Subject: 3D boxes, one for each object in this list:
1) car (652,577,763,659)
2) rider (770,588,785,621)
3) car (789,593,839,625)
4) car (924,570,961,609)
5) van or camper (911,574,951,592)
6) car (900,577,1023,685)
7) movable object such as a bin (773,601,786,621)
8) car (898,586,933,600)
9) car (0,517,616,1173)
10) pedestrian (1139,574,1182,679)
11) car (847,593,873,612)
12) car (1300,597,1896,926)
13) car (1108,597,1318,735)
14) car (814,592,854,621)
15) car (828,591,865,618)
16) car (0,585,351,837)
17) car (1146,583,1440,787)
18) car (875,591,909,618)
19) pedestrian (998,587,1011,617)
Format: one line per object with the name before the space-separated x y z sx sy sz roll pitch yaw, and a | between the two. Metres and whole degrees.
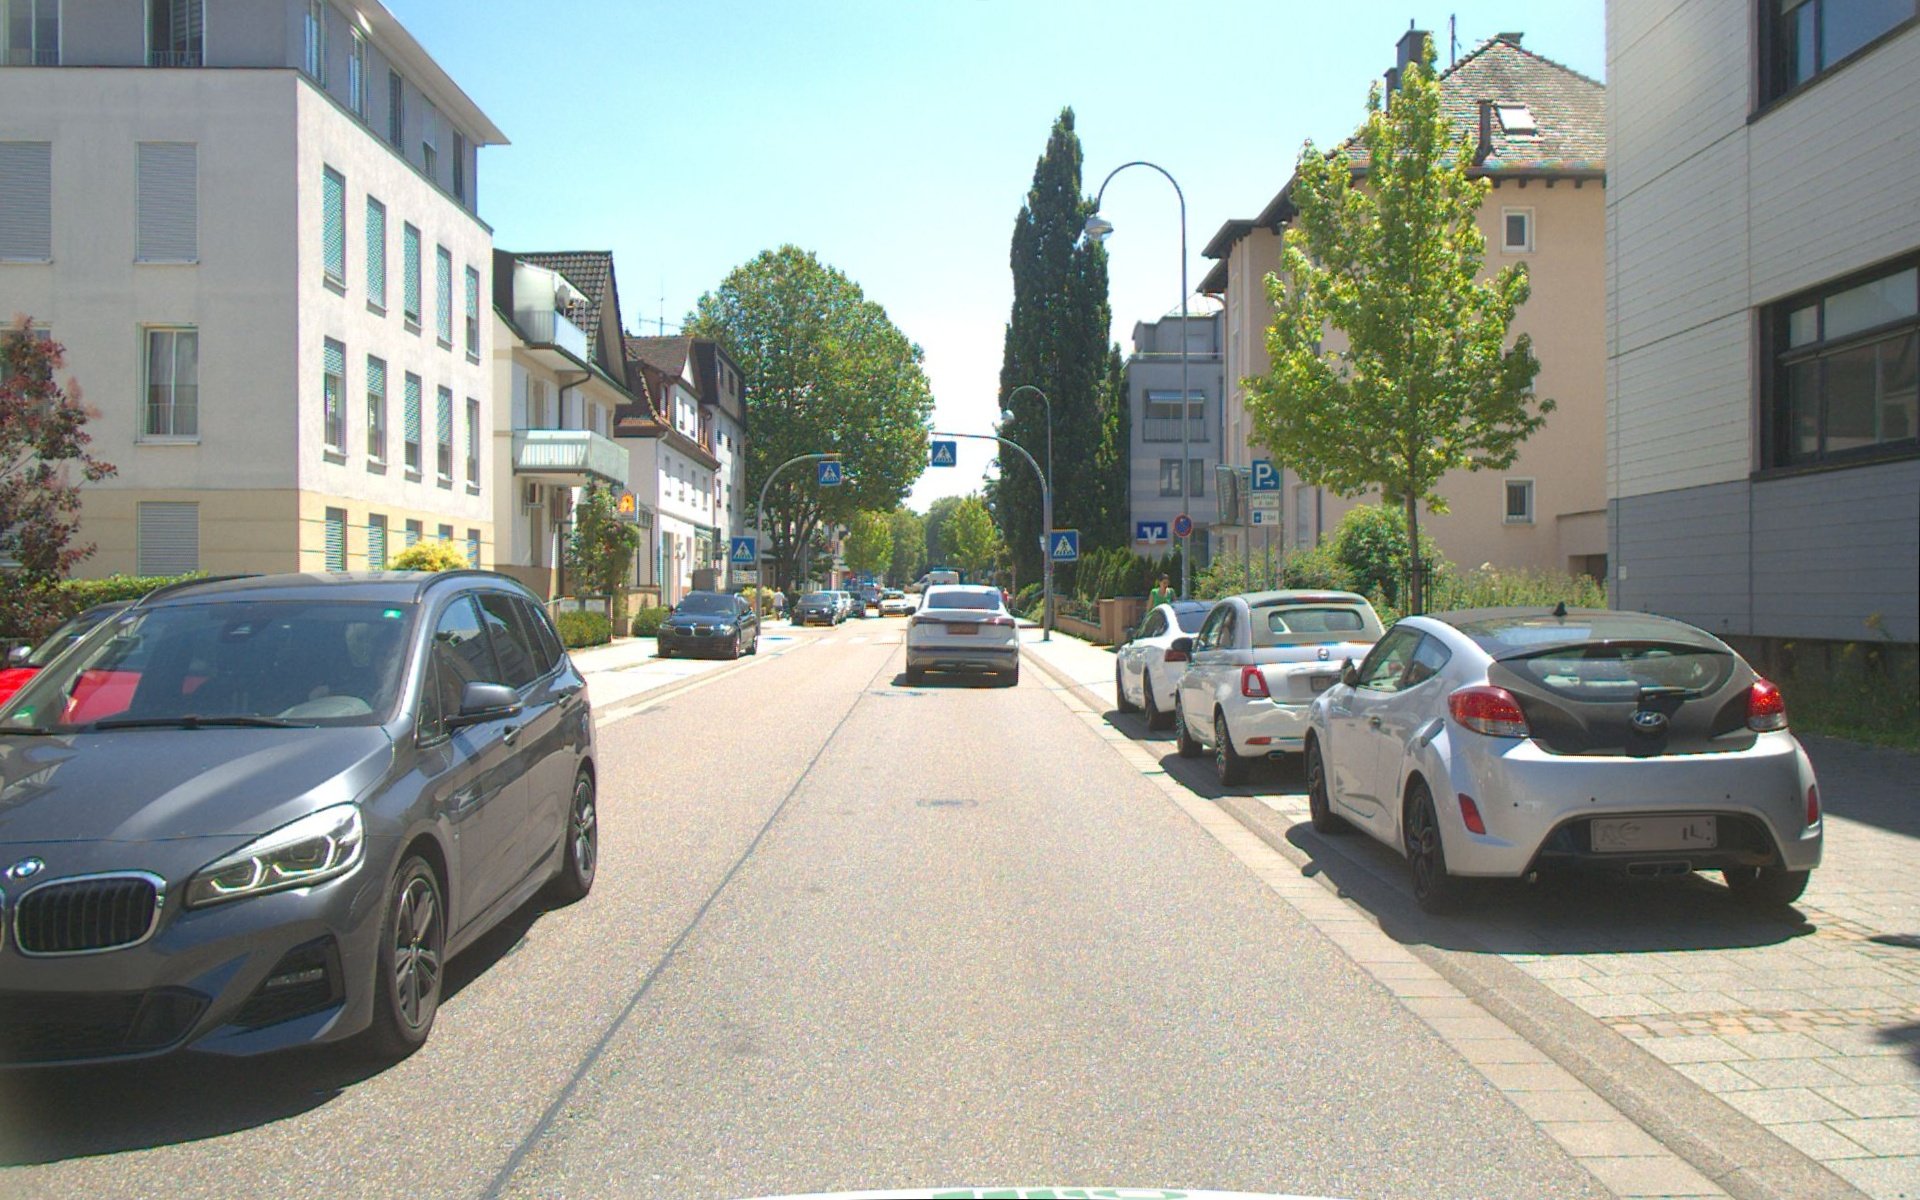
car | -5.905 0.408 39.141 1.886 1.750 4.471 2 0 0
rider | -8.821 0.223 80.054 0.648 1.580 0.661 0 0 -1
car | -6.378 0.369 72.633 1.953 1.373 3.999 0 0 -2
car | -1.042 -0.610 98.262 2.028 2.235 5.135 1 0 -2
van or camper | -4.003 -2.337 228.292 5.081 2.557 2.270 0 0 10
car | 0.015 0.499 28.867 1.897 1.642 4.471 3 0 0
movable object such as a bin | -8.787 0.537 80.669 0.575 0.969 0.566 0 0 -1
car | -5.264 -0.857 197.375 3.902 1.680 2.001 0 0 6
car | -2.726 0.634 6.512 1.934 1.700 4.470 0 0 -2
pedestrian | 3.446 0.446 28.452 0.625 1.789 0.616 0 0 -5
car | -7.929 0.190 131.326 1.953 1.546 3.999 0 0 -2
car | 3.135 0.700 9.077 1.824 1.397 4.001 0 0 2
car | 2.846 0.691 19.509 1.691 1.407 4.400 -1 0 -1
car | -6.862 0.367 90.251 1.953 1.546 3.999 0 0 -2
car | -6.597 0.257 96.405 1.953 1.546 3.999 0 0 -2
car | -5.939 0.655 11.826 1.615 1.444 3.906 3 0 1
car | 2.778 0.647 14.753 1.625 1.514 4.344 -1 0 -1
car | -3.938 0.269 96.458 1.939 1.546 3.999 0 0 -2
pedestrian | 2.615 0.129 97.350 0.680 1.767 0.667 0 0 -5
